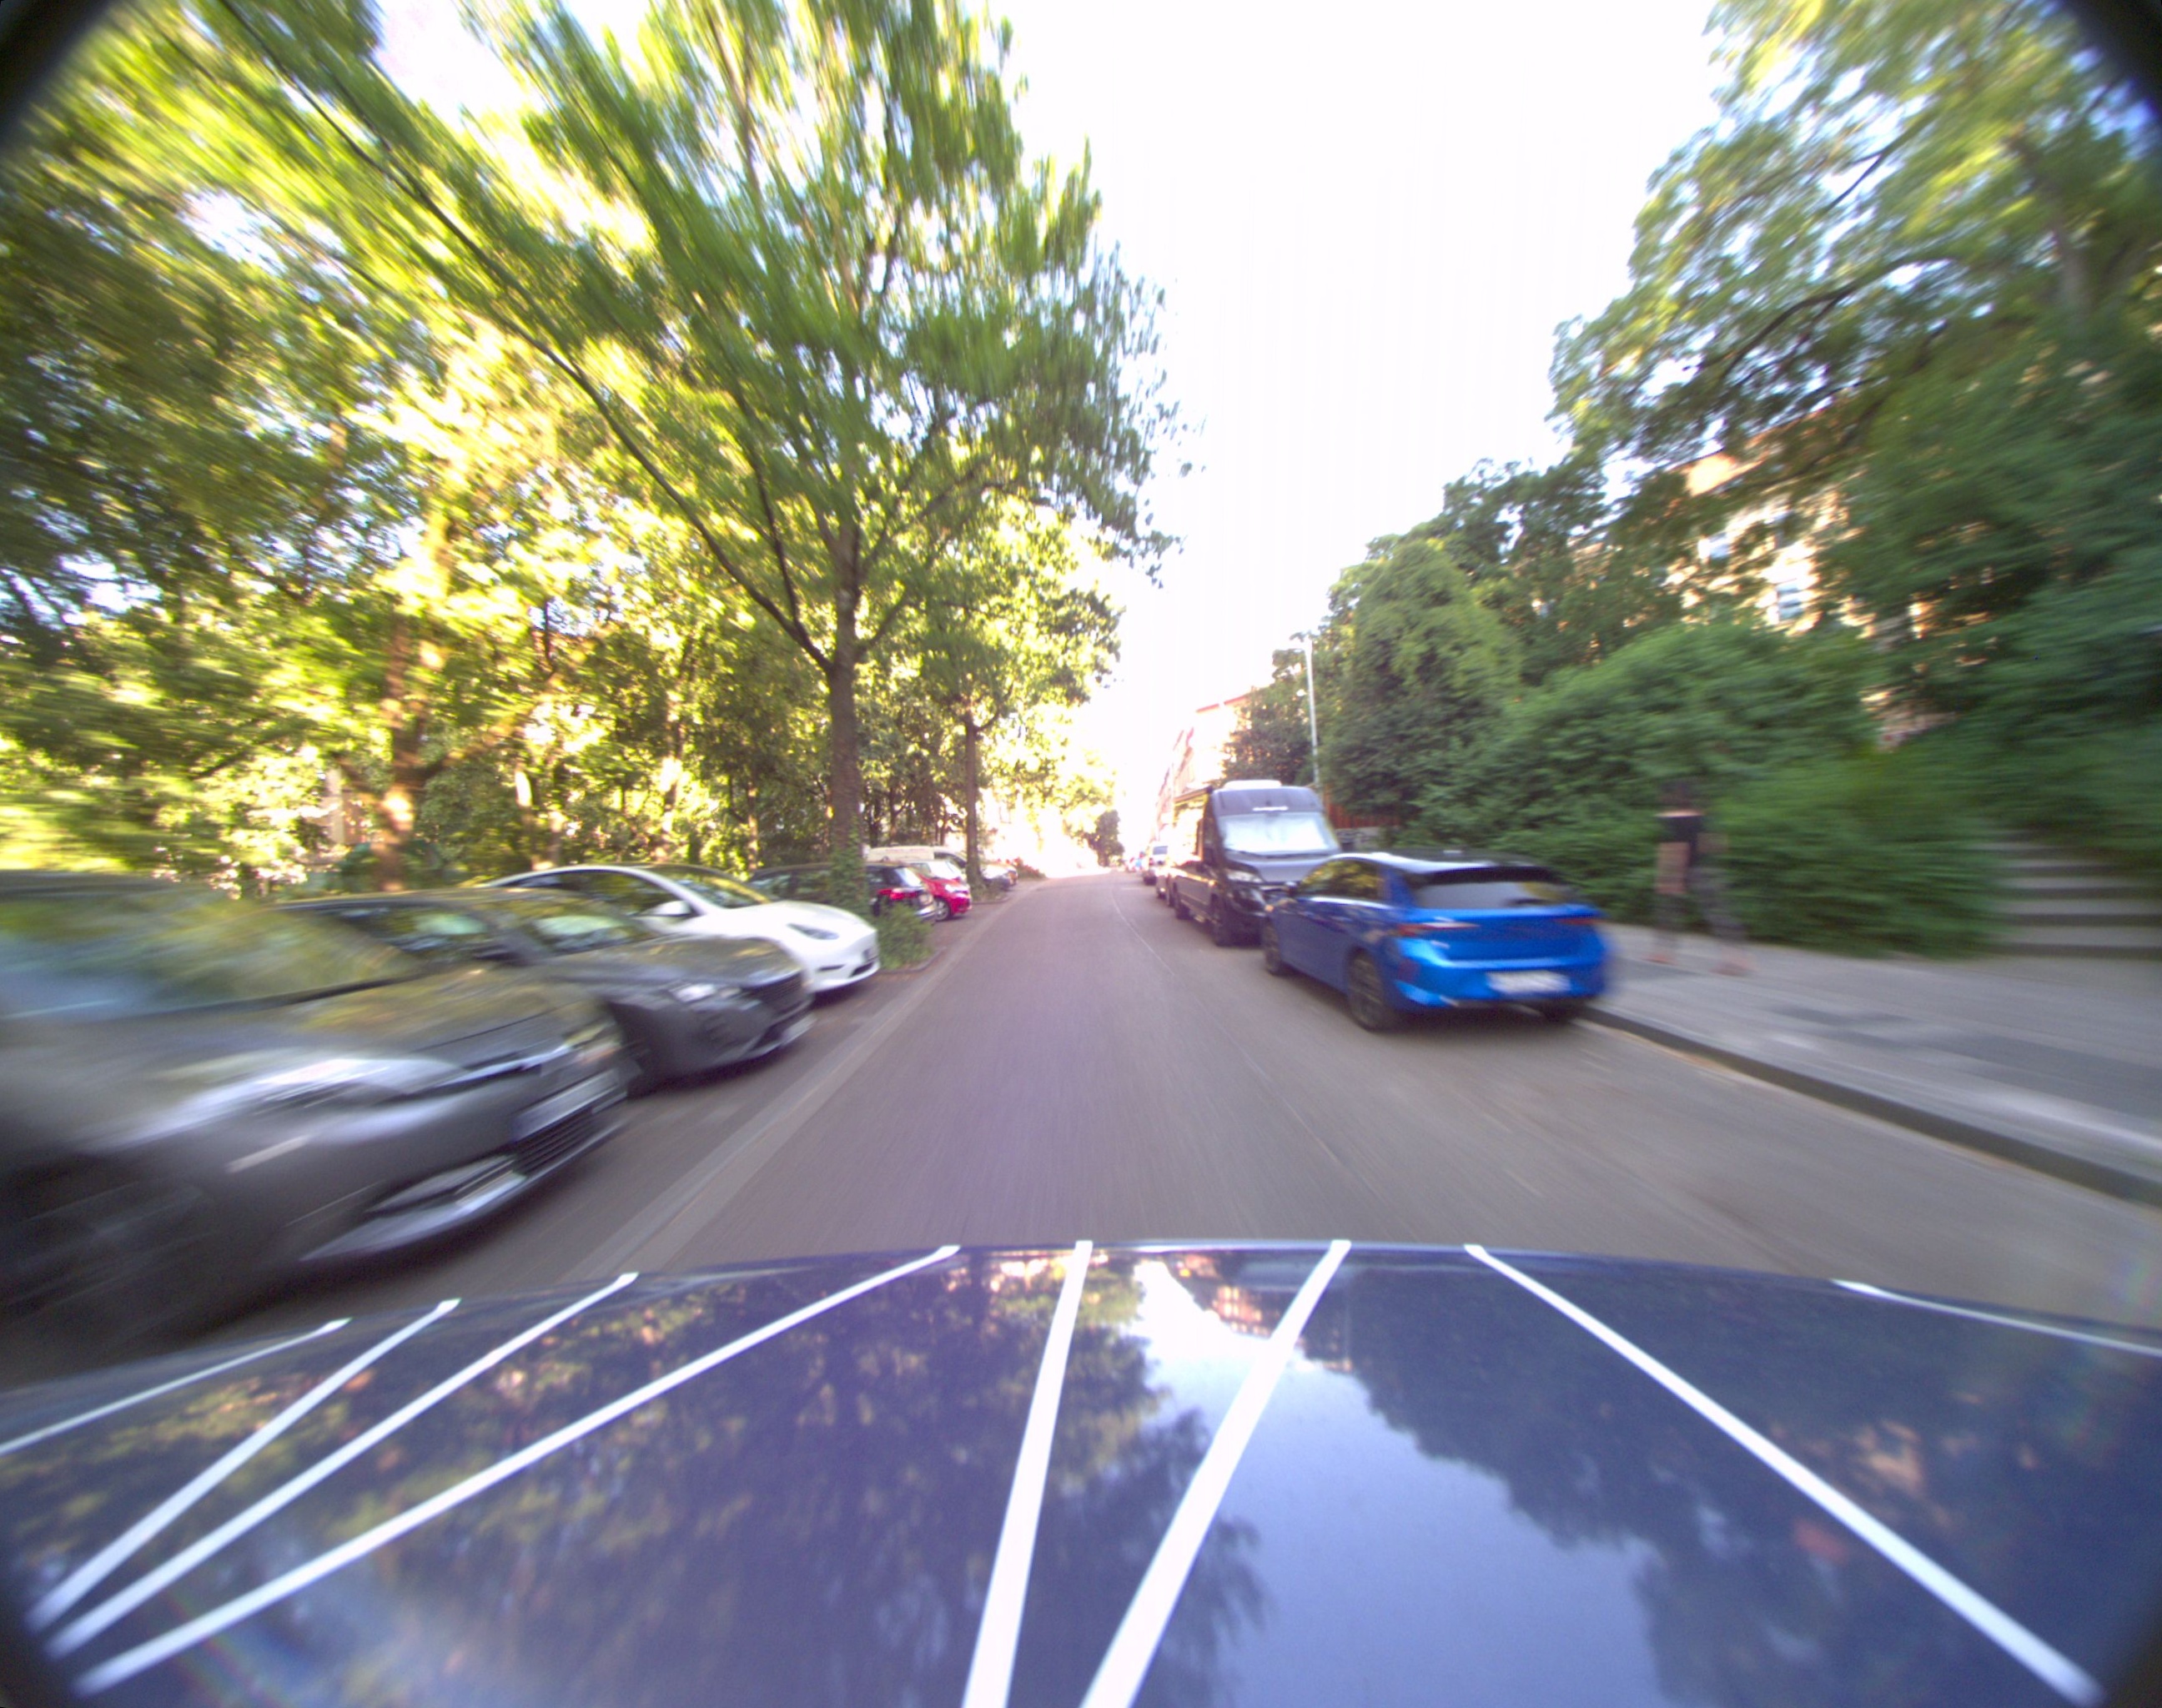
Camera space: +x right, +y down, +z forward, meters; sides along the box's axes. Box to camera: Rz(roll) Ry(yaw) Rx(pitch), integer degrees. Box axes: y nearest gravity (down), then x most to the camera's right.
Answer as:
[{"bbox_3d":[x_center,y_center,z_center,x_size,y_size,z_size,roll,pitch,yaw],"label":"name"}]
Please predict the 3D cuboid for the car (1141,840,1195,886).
[{"bbox_3d":[3.103,0.265,27.730,1.703,1.489,4.550,-2,1,4],"label":"car"}]

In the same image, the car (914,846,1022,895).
[{"bbox_3d":[-4.494,0.647,30.716,3.997,1.618,1.798,-4,1,-2],"label":"car"}]

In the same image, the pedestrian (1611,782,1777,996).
[{"bbox_3d":[5.926,0.312,7.407,0.639,1.903,1.046,-4,1,-4],"label":"pedestrian"}]

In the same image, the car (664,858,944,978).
[{"bbox_3d":[-4.532,1.026,12.830,4.031,1.565,1.587,-4,1,0],"label":"car"}]

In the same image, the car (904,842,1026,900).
[{"bbox_3d":[-4.243,0.603,28.071,3.995,1.748,1.799,-4,1,6],"label":"car"}]

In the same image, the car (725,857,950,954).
[{"bbox_3d":[-4.886,1.007,15.617,3.997,1.565,1.587,-4,1,0],"label":"car"}]

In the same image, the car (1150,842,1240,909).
[{"bbox_3d":[2.864,0.470,19.852,1.703,1.498,4.227,-2,1,0],"label":"car"}]

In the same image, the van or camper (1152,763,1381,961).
[{"bbox_3d":[2.817,0.064,13.496,2.241,2.508,6.419,-4,1,-1],"label":"van or camper"}]

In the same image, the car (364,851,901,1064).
[{"bbox_3d":[-4.517,0.990,8.225,4.544,1.686,1.907,-4,1,1],"label":"car"}]

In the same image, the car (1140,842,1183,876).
[{"bbox_3d":[3.567,0.171,34.108,1.703,1.391,4.194,-2,1,4],"label":"car"}]

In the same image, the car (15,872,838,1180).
[{"bbox_3d":[-4.365,1.102,5.658,4.385,1.524,1.876,-4,1,1],"label":"car"}]

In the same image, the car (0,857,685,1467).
[{"bbox_3d":[-4.406,1.042,3.145,4.386,1.699,1.906,-4,1,-2],"label":"car"}]

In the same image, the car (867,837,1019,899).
[{"bbox_3d":[-4.540,0.443,25.485,4.683,1.914,1.872,-1,1,1],"label":"car"}]

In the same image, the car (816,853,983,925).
[{"bbox_3d":[-4.862,0.922,20.709,3.996,1.565,1.666,-4,1,4],"label":"car"}]

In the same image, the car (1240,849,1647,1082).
[{"bbox_3d":[3.002,0.763,7.487,1.749,1.458,4.374,-4,1,-1],"label":"car"}]

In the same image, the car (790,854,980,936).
[{"bbox_3d":[-4.588,0.943,18.157,3.997,1.565,1.587,-4,1,0],"label":"car"}]
